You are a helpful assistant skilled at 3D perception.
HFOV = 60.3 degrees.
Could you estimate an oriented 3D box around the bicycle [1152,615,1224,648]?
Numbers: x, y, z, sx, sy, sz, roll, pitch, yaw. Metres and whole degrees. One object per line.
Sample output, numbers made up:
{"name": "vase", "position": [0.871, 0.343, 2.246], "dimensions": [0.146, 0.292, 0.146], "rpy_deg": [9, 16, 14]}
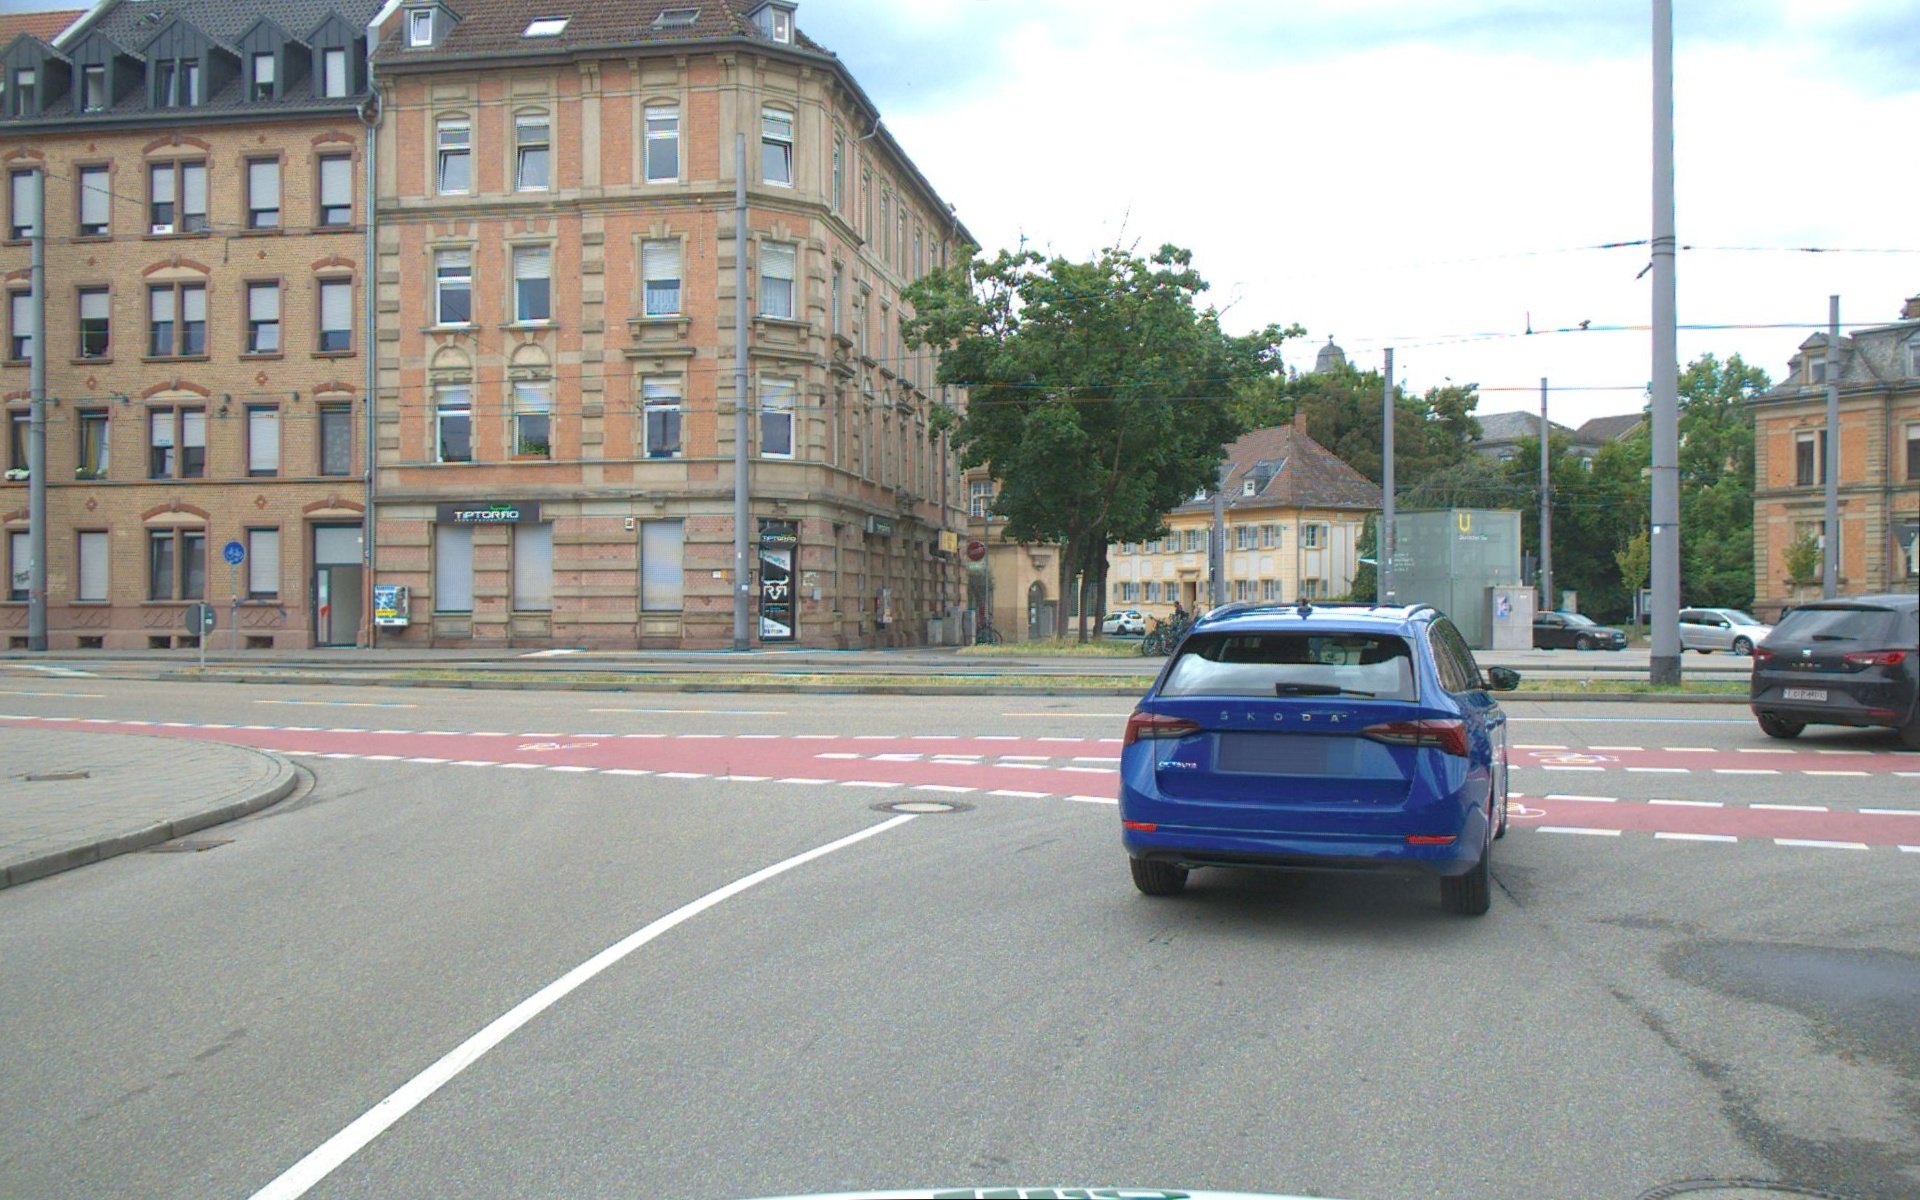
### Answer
{"name": "bicycle", "position": [7.126, 0.993, 51.747], "dimensions": [2.168, 1.004, 0.585], "rpy_deg": [0, 0, 21]}

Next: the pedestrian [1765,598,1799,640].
{"name": "pedestrian", "position": [35.751, 0.821, 71.933], "dimensions": [0.751, 1.794, 1.110], "rpy_deg": [0, -1, -41]}

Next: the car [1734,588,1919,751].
{"name": "car", "position": [9.753, 0.621, 16.664], "dimensions": [3.758, 1.474, 1.693], "rpy_deg": [0, 0, -29]}

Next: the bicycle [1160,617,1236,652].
{"name": "bicycle", "position": [7.031, 1.014, 48.875], "dimensions": [2.168, 1.004, 0.611], "rpy_deg": [0, 0, 21]}

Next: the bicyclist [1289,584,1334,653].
{"name": "bicyclist", "position": [7.832, 0.404, 36.904], "dimensions": [0.919, 1.520, 0.664], "rpy_deg": [0, 0, 7]}

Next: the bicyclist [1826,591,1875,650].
{"name": "bicyclist", "position": [25.330, 0.592, 47.060], "dimensions": [0.843, 1.651, 0.909], "rpy_deg": [1, -1, -29]}

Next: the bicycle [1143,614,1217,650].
{"name": "bicycle", "position": [6.163, 0.900, 46.435], "dimensions": [1.989, 1.004, 0.522], "rpy_deg": [0, 0, 21]}

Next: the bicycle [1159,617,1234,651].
{"name": "bicycle", "position": [7.221, 1.039, 50.518], "dimensions": [2.168, 1.004, 0.585], "rpy_deg": [0, 0, 21]}

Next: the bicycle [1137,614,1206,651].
{"name": "bicycle", "position": [5.840, 0.887, 45.746], "dimensions": [1.824, 1.004, 0.500], "rpy_deg": [0, 0, 19]}

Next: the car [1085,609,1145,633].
{"name": "car", "position": [9.796, 1.326, 104.720], "dimensions": [1.675, 1.474, 4.141], "rpy_deg": [0, 0, -32]}

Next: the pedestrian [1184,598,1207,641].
{"name": "pedestrian", "position": [9.660, 0.795, 67.779], "dimensions": [0.826, 1.753, 0.953], "rpy_deg": [0, 0, 14]}

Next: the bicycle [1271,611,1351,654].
{"name": "bicycle", "position": [7.822, 0.728, 36.884], "dimensions": [1.677, 0.931, 0.608], "rpy_deg": [0, 0, 6]}

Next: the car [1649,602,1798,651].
{"name": "car", "position": [24.316, 0.831, 52.794], "dimensions": [1.736, 1.479, 4.122], "rpy_deg": [0, 0, -28]}

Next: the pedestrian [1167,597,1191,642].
{"name": "pedestrian", "position": [8.621, 0.766, 65.161], "dimensions": [0.826, 1.753, 0.953], "rpy_deg": [0, 0, 14]}

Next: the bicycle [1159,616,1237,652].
{"name": "bicycle", "position": [6.850, 0.972, 47.612], "dimensions": [2.168, 1.004, 0.500], "rpy_deg": [0, 0, 21]}

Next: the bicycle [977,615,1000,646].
{"name": "bicycle", "position": [0.895, 0.935, 51.721], "dimensions": [0.647, 0.930, 1.989], "rpy_deg": [0, 0, -1]}

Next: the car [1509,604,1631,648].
{"name": "car", "position": [21.429, 0.884, 58.266], "dimensions": [1.669, 1.474, 4.112], "rpy_deg": [0, 0, -24]}

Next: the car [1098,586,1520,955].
{"name": "car", "position": [2.170, 0.710, 9.184], "dimensions": [1.742, 1.514, 4.467], "rpy_deg": [0, 0, 19]}

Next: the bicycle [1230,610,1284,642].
{"name": "bicycle", "position": [10.900, 0.943, 60.794], "dimensions": [0.729, 1.134, 2.343], "rpy_deg": [0, 0, -26]}
